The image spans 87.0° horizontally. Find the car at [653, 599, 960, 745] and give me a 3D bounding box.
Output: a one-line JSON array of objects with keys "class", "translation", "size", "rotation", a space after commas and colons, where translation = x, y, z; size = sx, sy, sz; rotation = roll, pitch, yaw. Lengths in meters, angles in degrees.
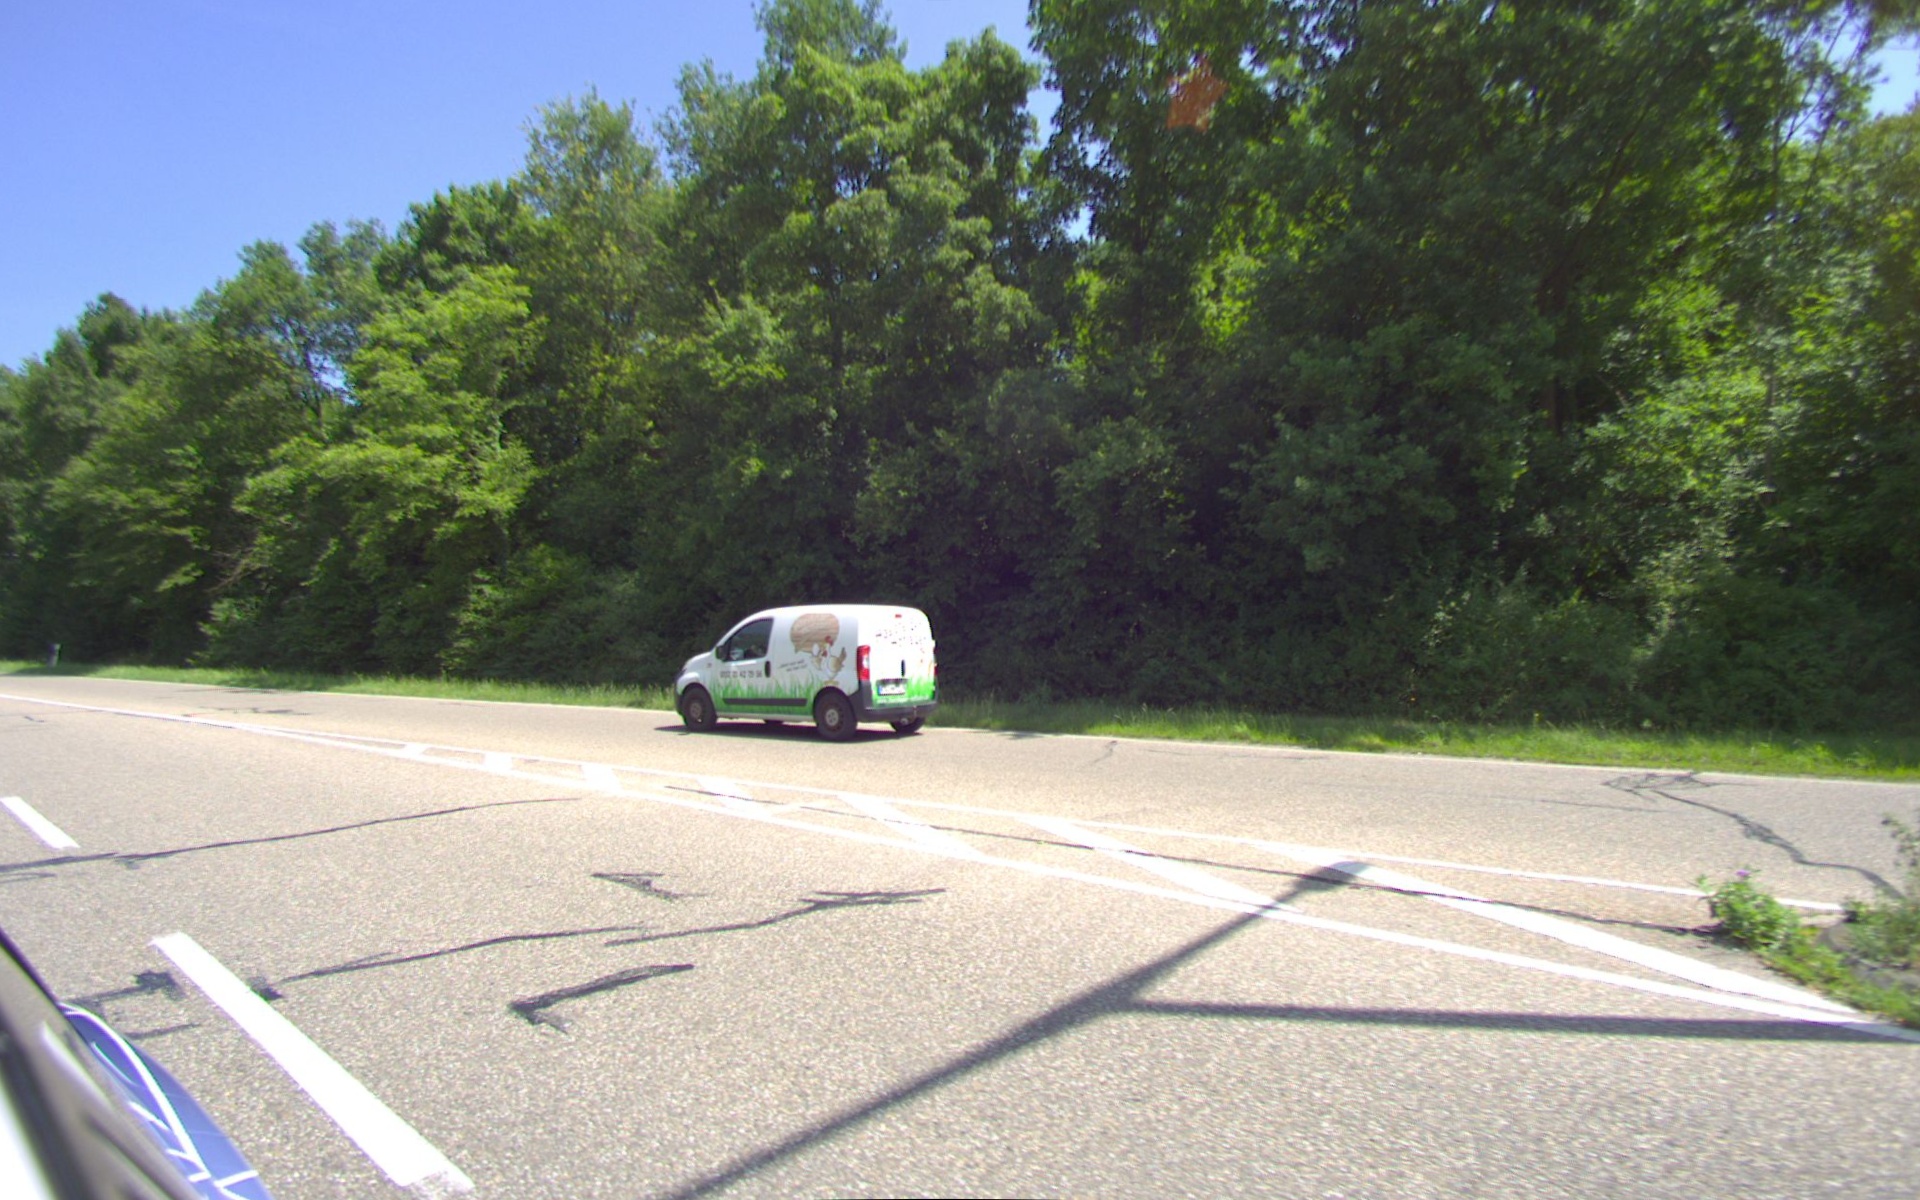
[{"class": "car", "translation": [-2.153, 0.932, 13.759], "size": [4.085, 1.701, 1.717], "rotation": [-2, -3, 35]}]
